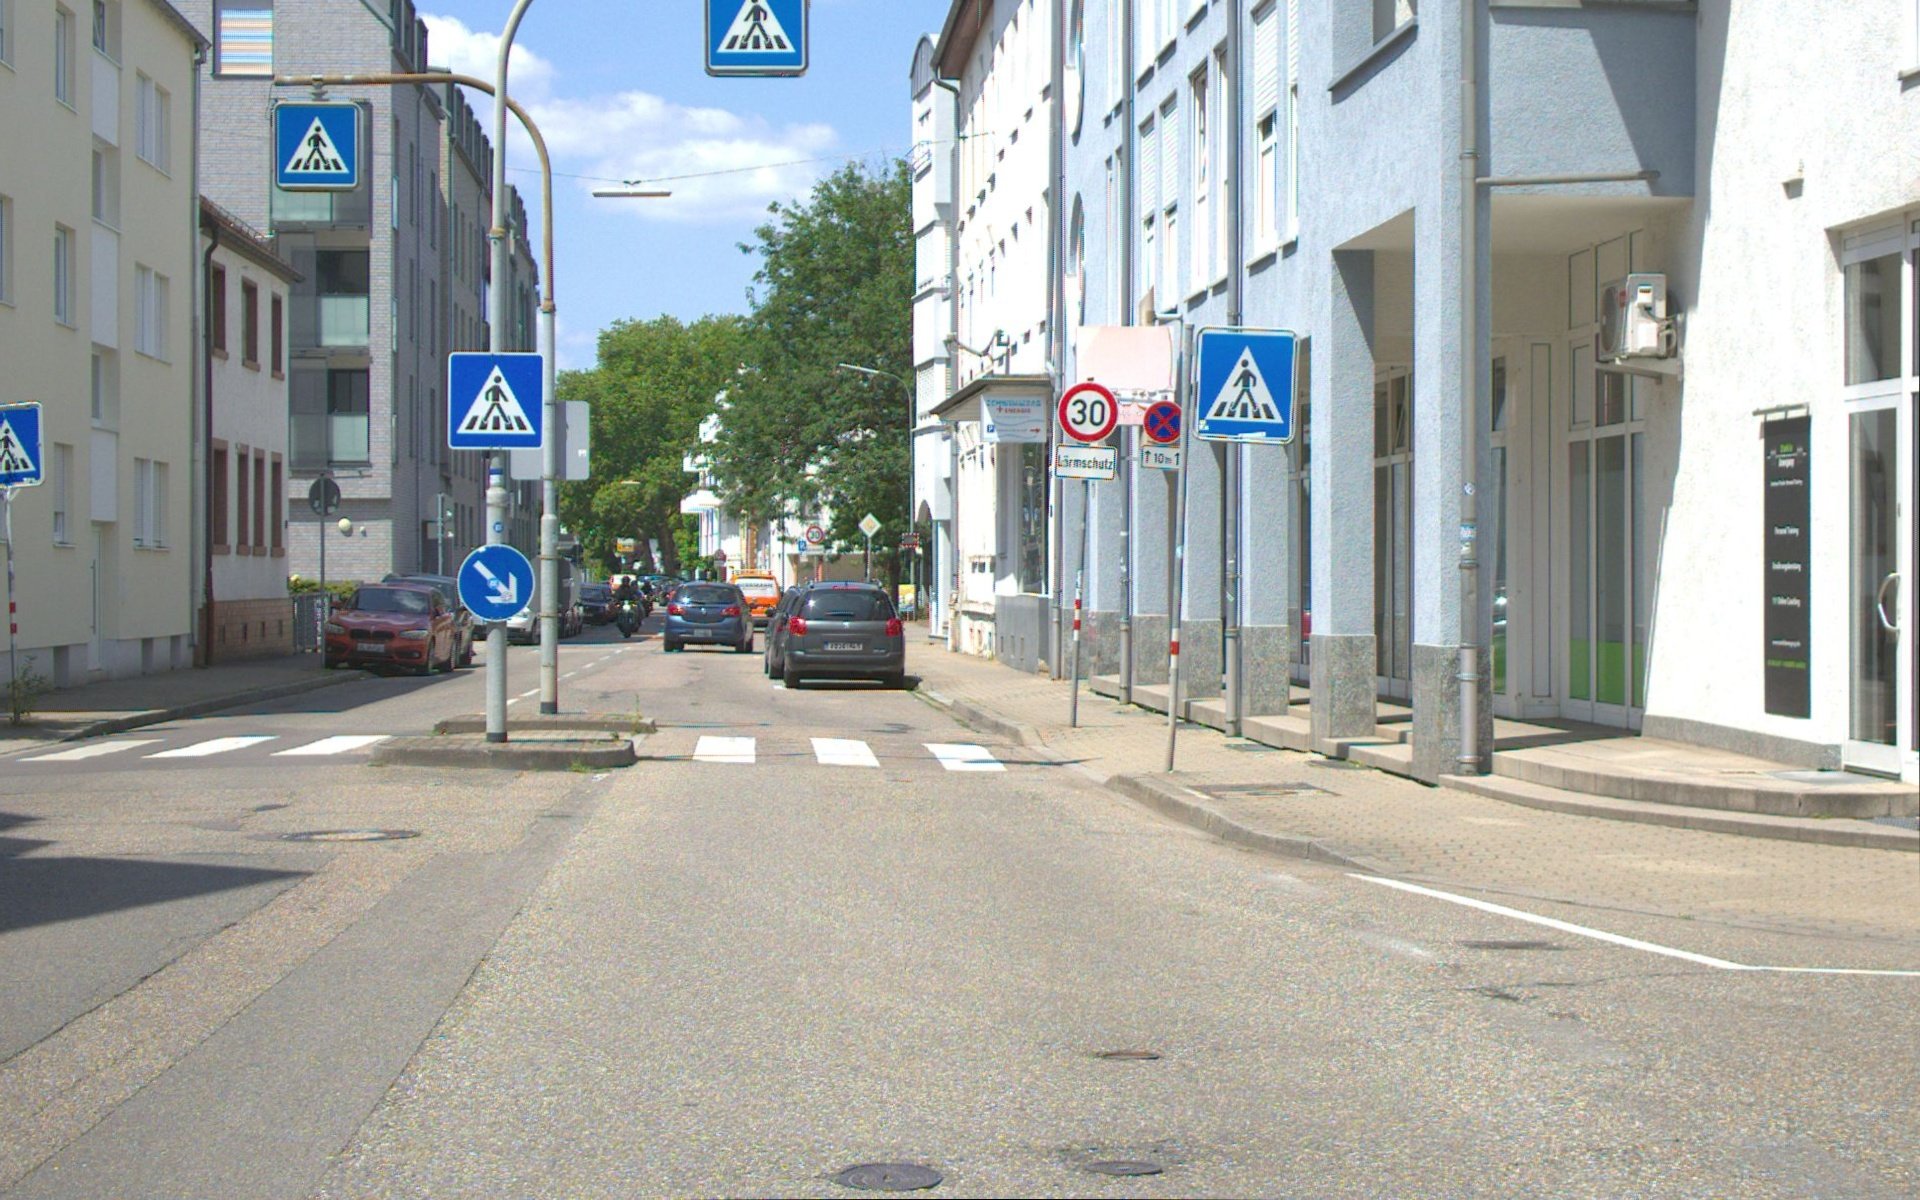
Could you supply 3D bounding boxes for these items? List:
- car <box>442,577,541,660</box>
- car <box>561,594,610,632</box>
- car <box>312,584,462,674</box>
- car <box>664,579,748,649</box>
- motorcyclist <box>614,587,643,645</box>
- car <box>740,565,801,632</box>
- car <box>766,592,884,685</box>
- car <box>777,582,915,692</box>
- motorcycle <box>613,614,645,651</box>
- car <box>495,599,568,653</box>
[{"bbox_3d":[-11.386,0.439,83.768,1.757,1.885,4.336,3,0,0],"label":"car"},{"bbox_3d":[-14.350,0.485,131.837,1.732,1.437,4.000,0,0,-5],"label":"car"},{"bbox_3d":[-9.326,0.457,56.216,1.834,1.412,4.290,0,0,-2],"label":"car"},{"bbox_3d":[-5.311,0.274,72.249,1.715,1.397,4.001,0,1,-4],"label":"car"},{"bbox_3d":[-9.388,0.456,97.403,0.713,1.629,1.069,0,0,0],"label":"motorcyclist"},{"bbox_3d":[-5.837,-0.066,105.660,1.839,2.007,4.001,0,1,-3],"label":"car"},{"bbox_3d":[-2.187,0.589,54.670,1.729,1.415,4.545,0,0,-4],"label":"car"},{"bbox_3d":[-1.671,0.512,49.195,1.709,1.503,4.001,0,0,-6],"label":"car"},{"bbox_3d":[-9.377,0.914,97.410,0.713,1.025,2.239,0,0,0],"label":"motorcycle"},{"bbox_3d":[-12.110,0.717,97.400,1.723,1.451,4.005,2,0,-3],"label":"car"}]
